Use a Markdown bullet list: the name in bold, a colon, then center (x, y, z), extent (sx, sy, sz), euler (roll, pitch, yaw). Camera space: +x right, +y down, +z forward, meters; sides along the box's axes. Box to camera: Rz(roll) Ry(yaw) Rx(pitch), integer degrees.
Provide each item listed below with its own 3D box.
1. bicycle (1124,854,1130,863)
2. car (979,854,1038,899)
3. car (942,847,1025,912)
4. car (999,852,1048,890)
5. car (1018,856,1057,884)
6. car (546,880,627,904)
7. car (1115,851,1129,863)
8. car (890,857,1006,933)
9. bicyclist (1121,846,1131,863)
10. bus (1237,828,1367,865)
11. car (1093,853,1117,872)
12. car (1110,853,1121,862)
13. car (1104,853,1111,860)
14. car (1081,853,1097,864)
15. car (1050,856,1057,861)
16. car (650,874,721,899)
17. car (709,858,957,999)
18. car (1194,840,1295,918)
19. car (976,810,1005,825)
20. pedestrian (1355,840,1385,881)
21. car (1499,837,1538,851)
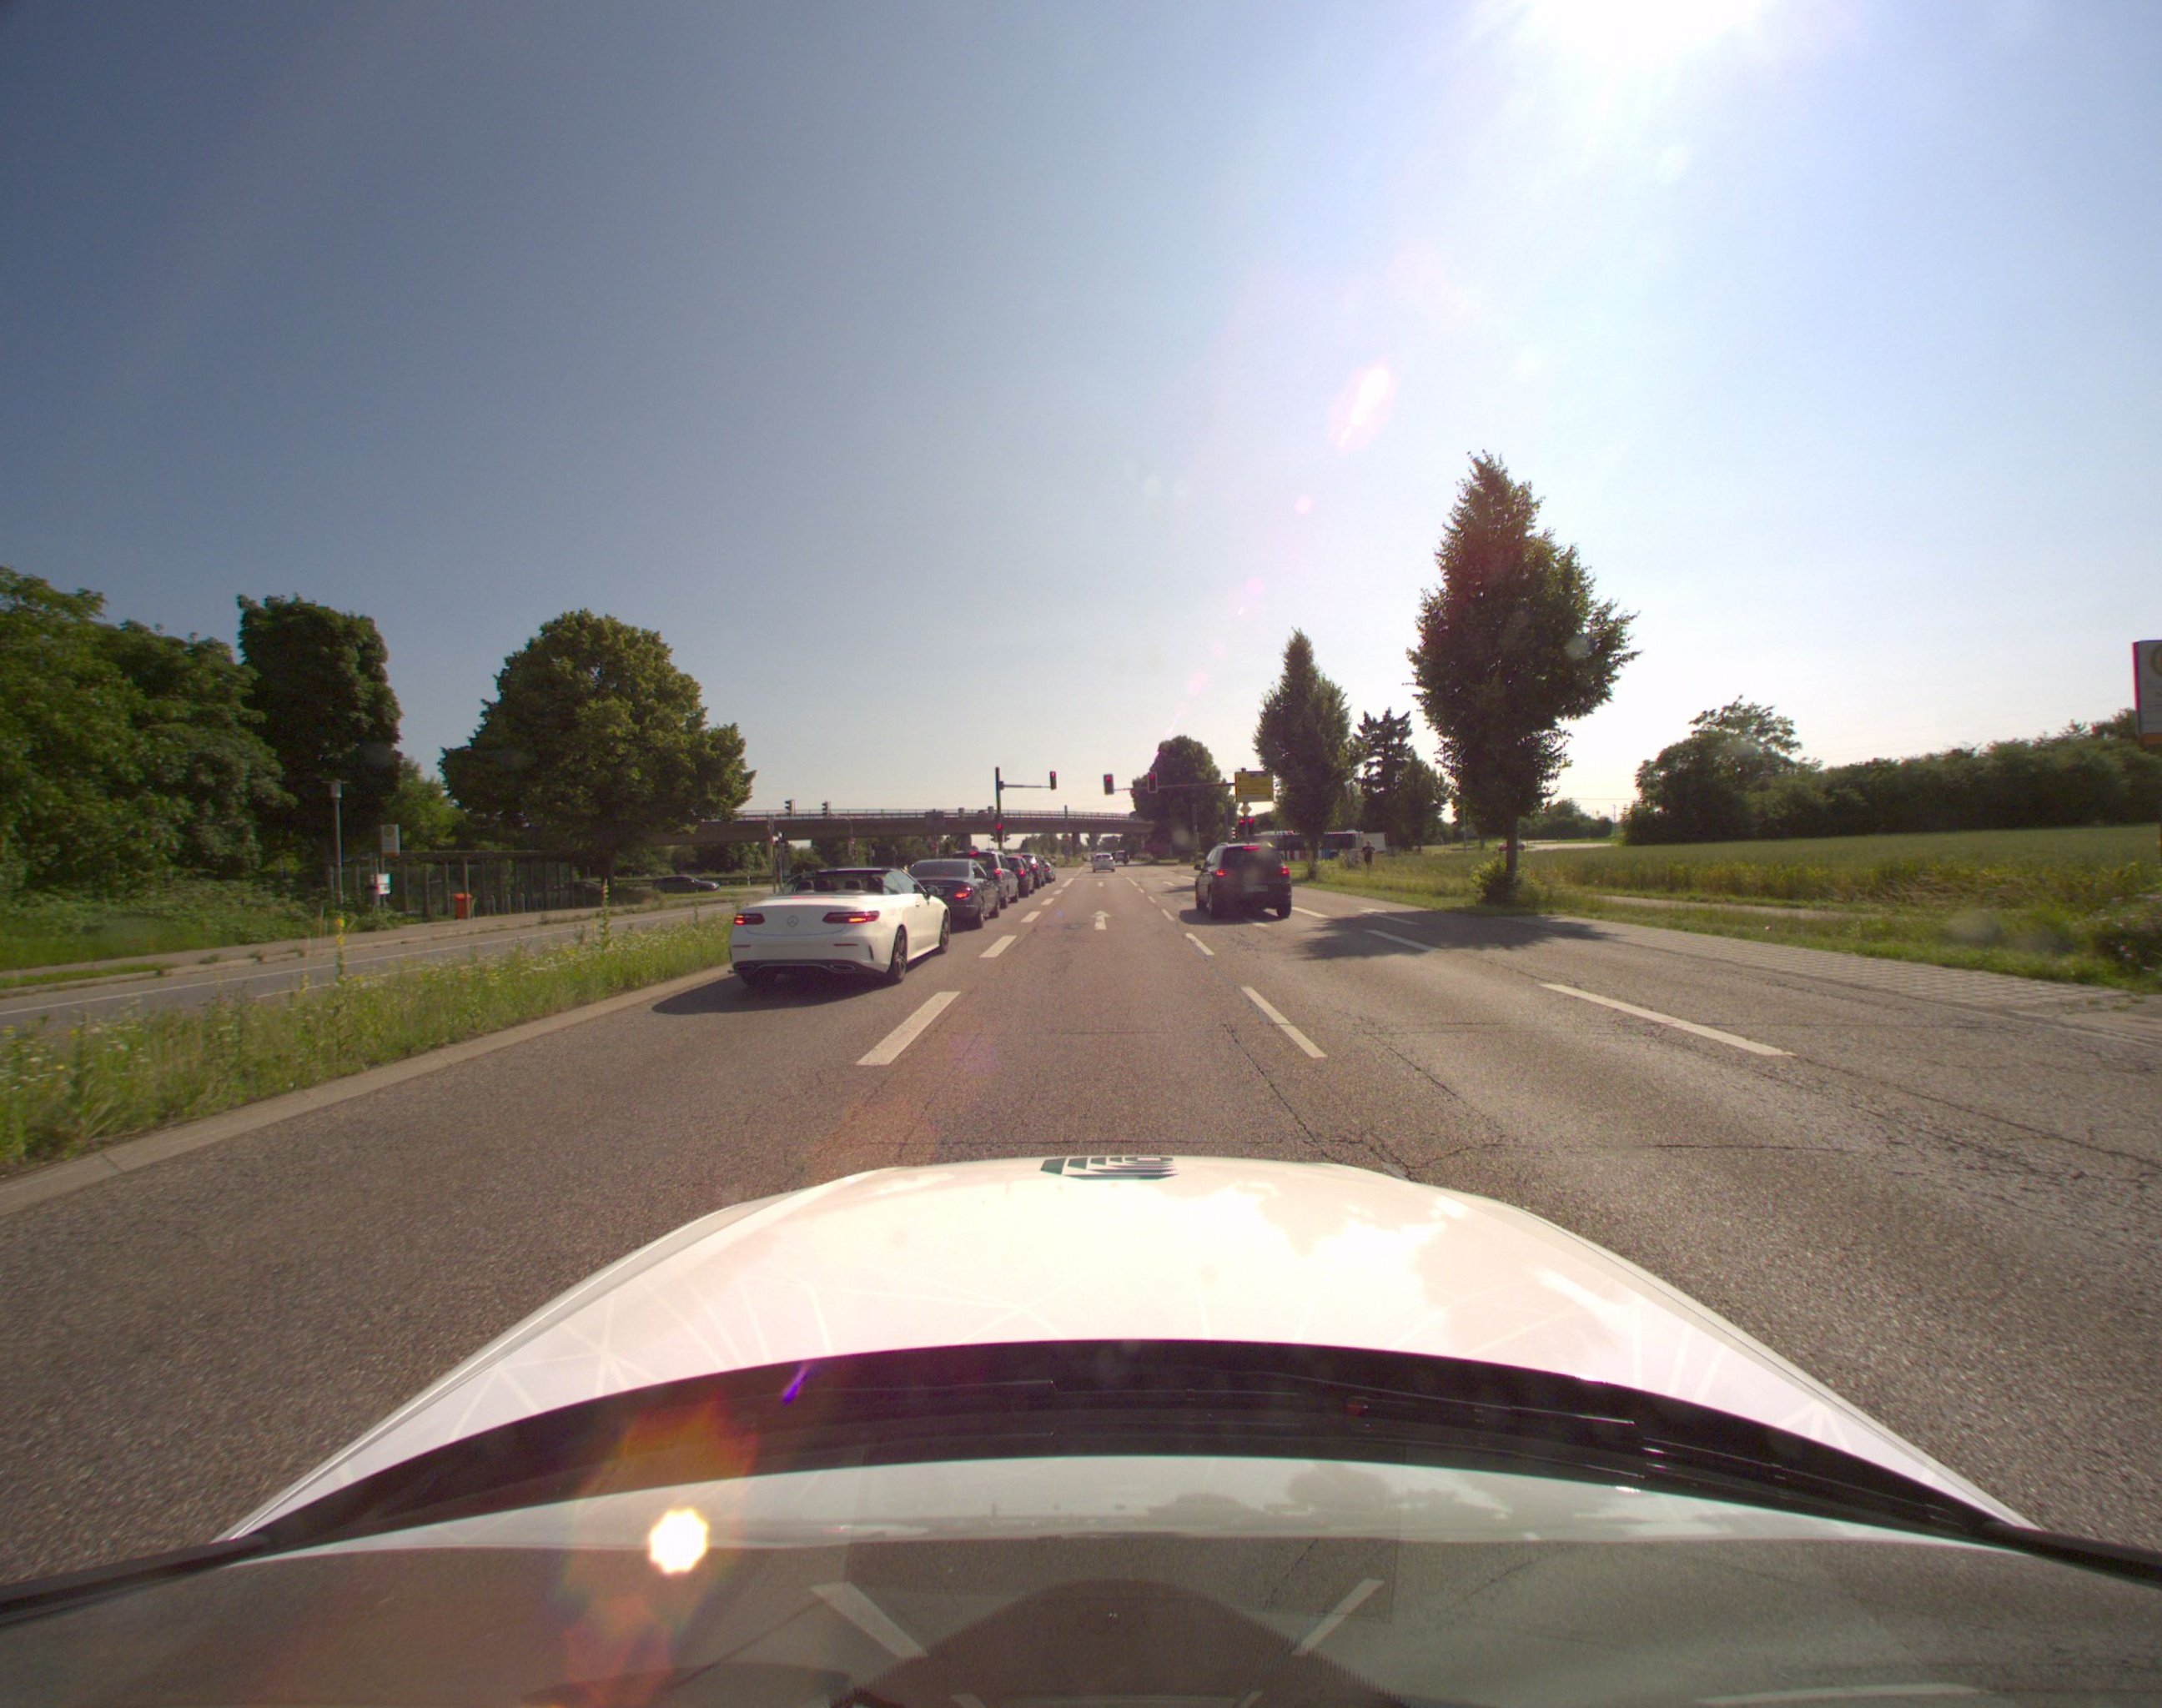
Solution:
- **bicycle**: center (5.309, 0.477, 93.929), extent (0.598, 0.983, 2.362), euler (-2, 0, 2)
- **car**: center (-2.572, 0.754, 29.754), extent (1.660, 1.474, 4.099), euler (-1, 0, 2)
- **car**: center (-2.777, 0.682, 24.030), extent (1.735, 1.672, 4.358), euler (-2, 0, 2)
- **car**: center (-2.493, 0.727, 36.244), extent (1.722, 1.547, 4.099), euler (-1, 0, 2)
- **car**: center (-2.250, 0.833, 42.909), extent (1.667, 1.335, 4.099), euler (-1, 0, 2)
- **car**: center (-32.405, 2.447, 53.503), extent (4.365, 1.280, 1.636), euler (-3, 0, -28)
- **car**: center (5.748, 0.394, 115.039), extent (1.866, 1.640, 4.003), euler (0, 0, 2)
- **car**: center (-2.760, 0.795, 17.871), extent (1.708, 1.410, 4.357), euler (0, 0, 2)
- **bicyclist**: center (5.204, 0.029, 94.282), extent (1.003, 1.886, 1.327), euler (-2, 0, 2)
- **bus**: center (21.012, -0.730, 77.469), extent (11.956, 2.877, 2.928), euler (-3, 0, -14)
- **car**: center (1.891, 0.633, 63.420), extent (1.843, 1.461, 4.003), euler (-1, 0, 2)
- **car**: center (6.483, 0.712, 151.880), extent (1.986, 1.632, 4.000), euler (0, -1, 1)
- **car**: center (6.829, 0.657, 210.420), extent (1.986, 1.655, 4.001), euler (0, -1, 2)
- **car**: center (1.110, 0.593, 110.917), extent (1.866, 1.492, 4.003), euler (-2, 0, 2)
- **car**: center (-7.751, 1.211, 230.626), extent (1.609, 1.442, 3.777), euler (-5, 0, 1)
- **car**: center (-27.250, 2.224, 56.198), extent (4.126, 1.424, 1.859), euler (-3, 0, -19)
- **car**: center (-2.976, 0.801, 10.941), extent (1.797, 1.425, 4.642), euler (-1, 0, 1)
- **car**: center (3.780, 0.542, 19.429), extent (1.748, 1.655, 4.149), euler (0, 0, 3)
- **car**: center (-12.624, -5.125, 113.968), extent (1.974, 1.838, 4.025), euler (0, -1, 31)
- **pedestrian**: center (13.464, 0.313, 37.979), extent (0.899, 1.839, 1.194), euler (-2, 0, -1)
- **car**: center (49.342, -1.103, 91.890), extent (4.001, 1.398, 1.669), euler (-2, 0, -21)
